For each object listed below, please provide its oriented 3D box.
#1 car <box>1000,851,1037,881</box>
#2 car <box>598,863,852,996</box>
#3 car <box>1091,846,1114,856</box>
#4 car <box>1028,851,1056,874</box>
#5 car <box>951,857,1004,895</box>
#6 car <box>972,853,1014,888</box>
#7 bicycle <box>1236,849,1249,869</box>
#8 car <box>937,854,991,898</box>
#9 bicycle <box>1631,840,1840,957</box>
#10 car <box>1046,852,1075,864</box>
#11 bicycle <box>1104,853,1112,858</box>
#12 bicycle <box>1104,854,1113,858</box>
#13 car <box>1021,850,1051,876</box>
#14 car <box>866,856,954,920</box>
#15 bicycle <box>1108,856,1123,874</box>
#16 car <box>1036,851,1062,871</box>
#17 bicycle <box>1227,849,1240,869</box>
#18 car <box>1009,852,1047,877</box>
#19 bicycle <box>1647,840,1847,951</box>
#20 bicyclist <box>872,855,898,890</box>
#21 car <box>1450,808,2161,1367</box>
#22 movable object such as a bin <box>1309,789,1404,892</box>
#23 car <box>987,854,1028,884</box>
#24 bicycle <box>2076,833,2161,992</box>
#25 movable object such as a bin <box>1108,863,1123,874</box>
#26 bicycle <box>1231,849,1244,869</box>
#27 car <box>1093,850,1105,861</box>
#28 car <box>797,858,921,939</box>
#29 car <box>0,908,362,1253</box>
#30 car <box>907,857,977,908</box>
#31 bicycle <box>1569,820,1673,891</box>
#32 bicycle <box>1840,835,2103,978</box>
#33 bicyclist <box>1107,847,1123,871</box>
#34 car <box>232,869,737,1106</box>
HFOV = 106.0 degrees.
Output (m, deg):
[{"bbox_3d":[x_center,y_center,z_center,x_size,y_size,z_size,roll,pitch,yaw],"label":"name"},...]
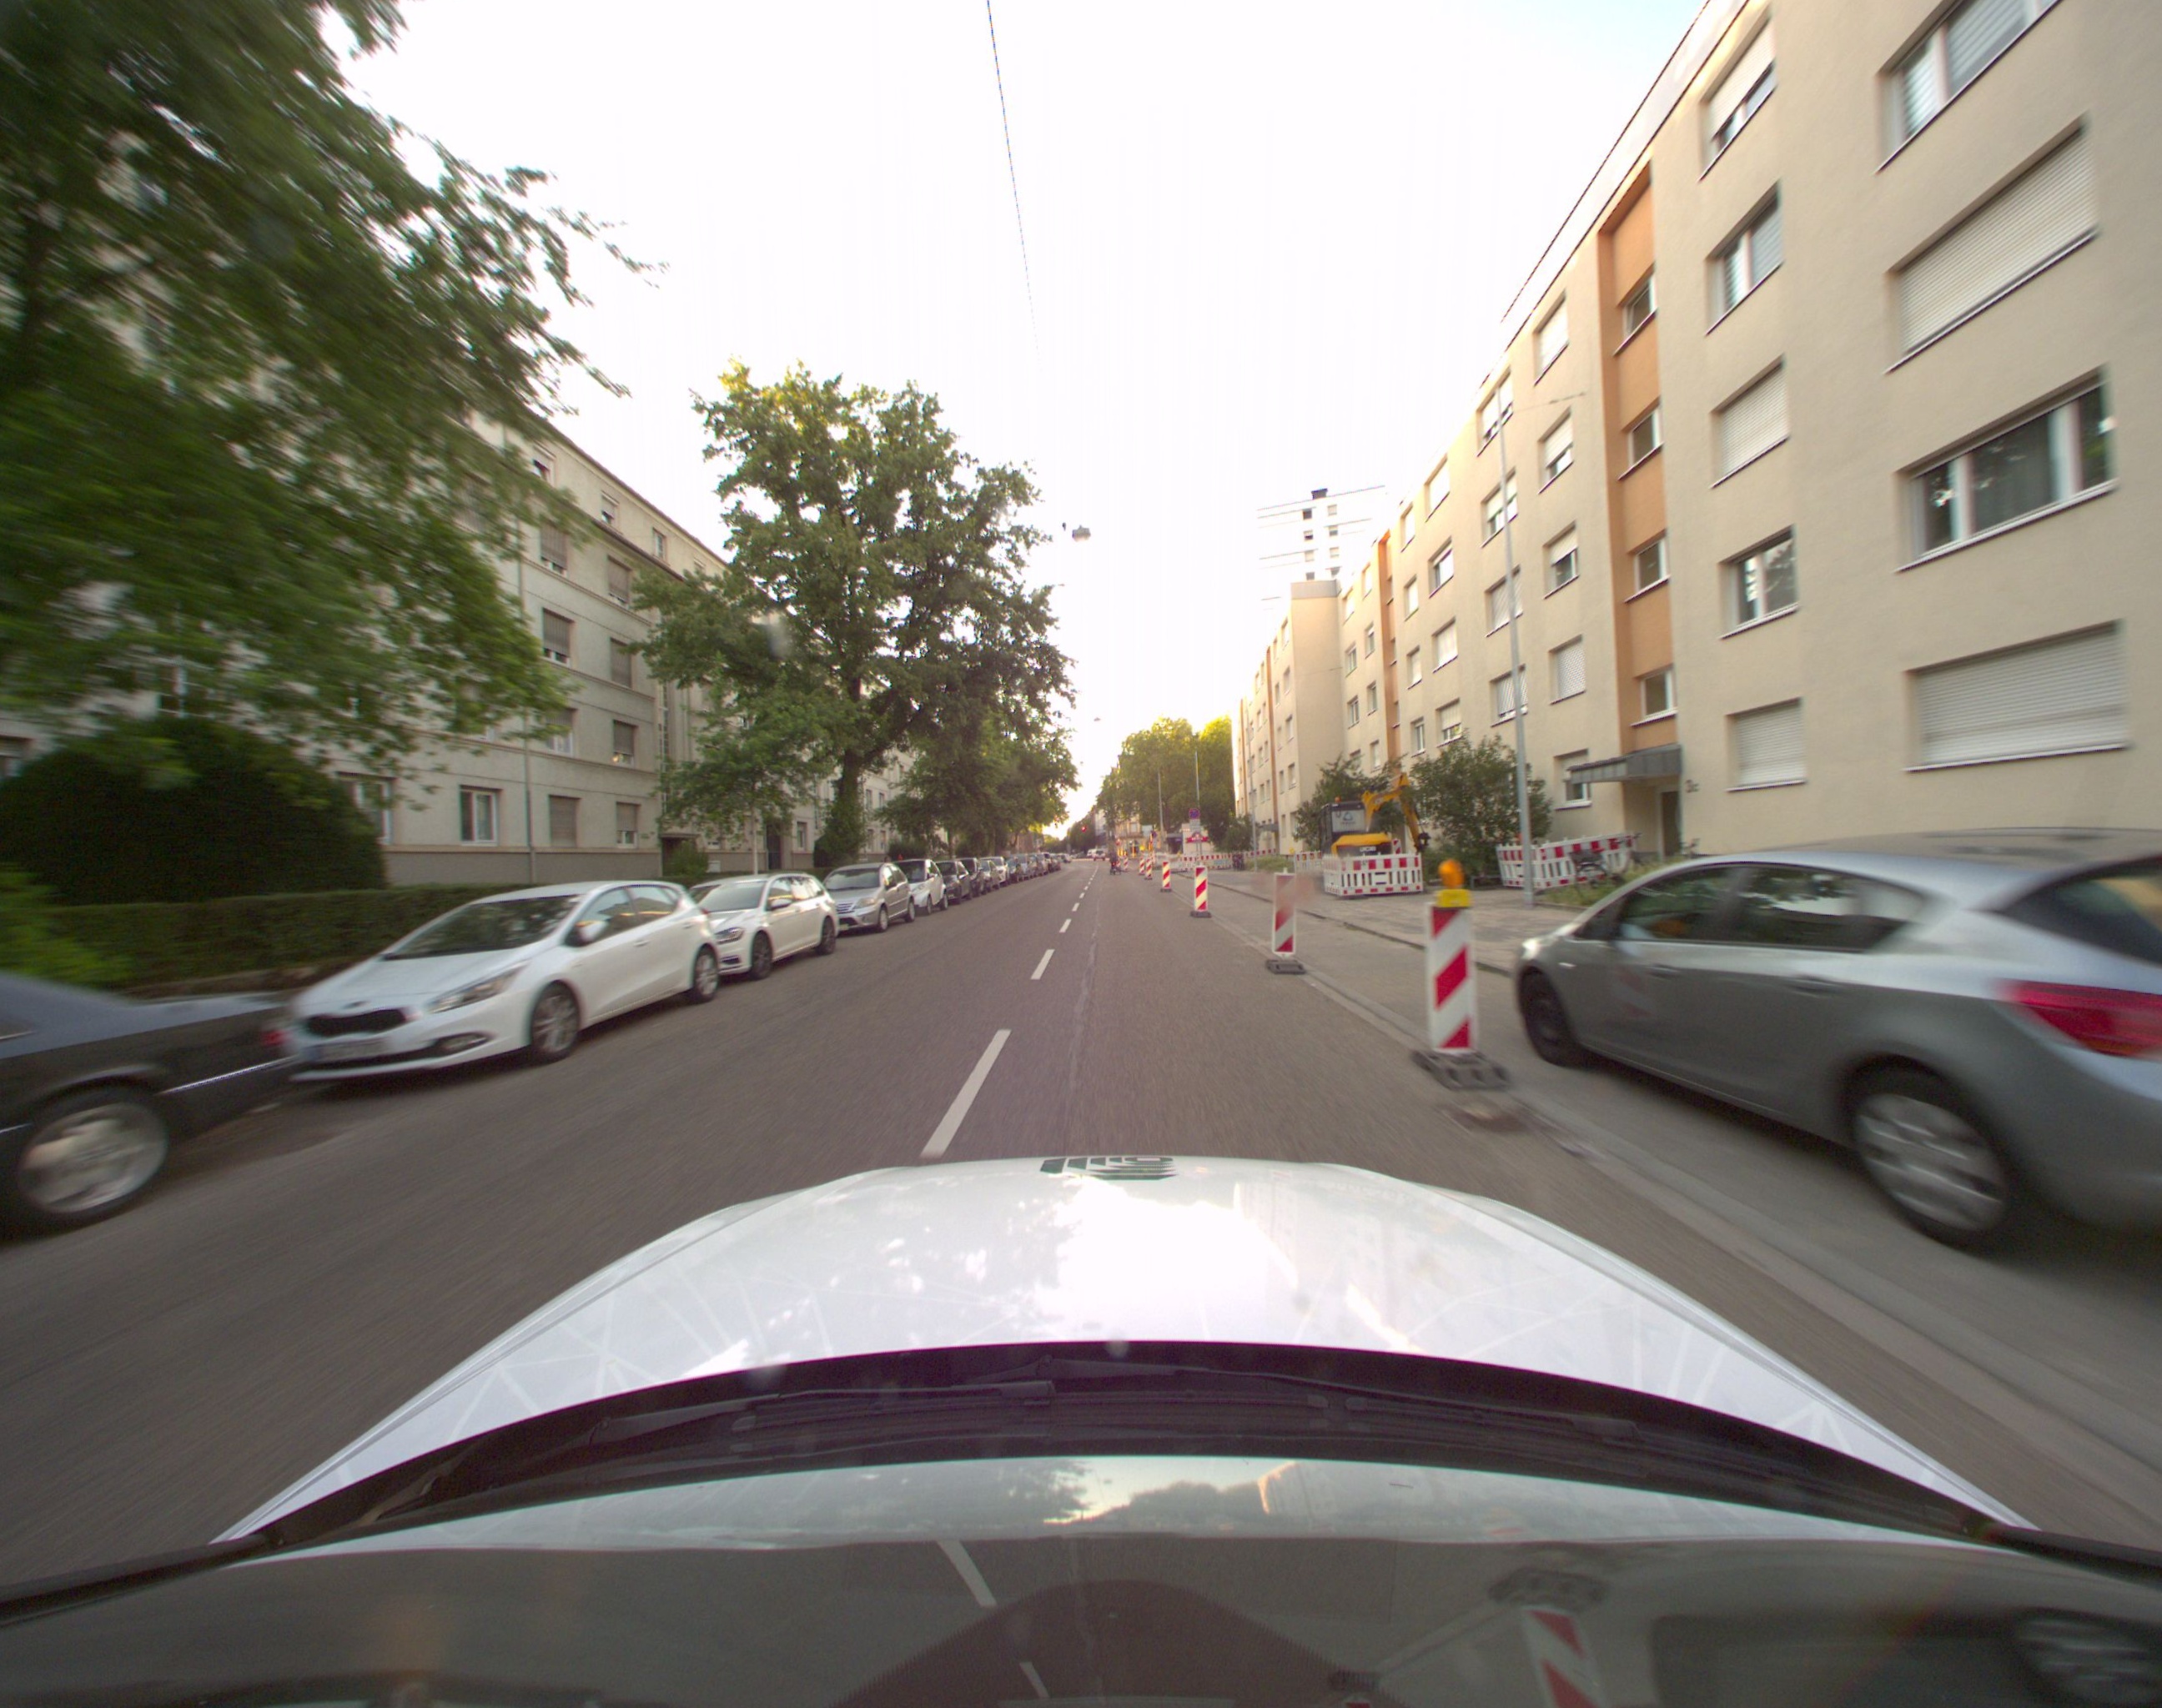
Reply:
[{"bbox_3d":[-3.848,0.727,50.405,1.701,1.600,4.118,-5,0,2],"label":"car"},{"bbox_3d":[-5.087,0.975,12.424,1.686,1.459,4.484,-5,0,1],"label":"car"},{"bbox_3d":[5.292,-0.662,201.971,5.855,2.288,2.047,-2,0,-42],"label":"car"},{"bbox_3d":[-3.202,0.651,67.923,1.947,1.719,4.772,-4,0,1],"label":"car"},{"bbox_3d":[-4.534,0.928,36.282,1.584,1.404,4.183,-5,0,2],"label":"car"},{"bbox_3d":[-4.424,0.822,41.599,1.585,1.538,4.205,-5,0,-1],"label":"car"},{"bbox_3d":[9.909,0.290,50.151,0.396,1.222,1.826,-2,0,0],"label":"bicycle"},{"bbox_3d":[-4.574,0.833,32.176,1.518,1.529,3.164,-5,0,0],"label":"car"},{"bbox_3d":[7.317,0.460,9.227,0.557,1.172,1.806,-2,0,-18],"label":"bicycle"},{"bbox_3d":[-3.145,0.577,126.260,3.951,1.585,1.882,-3,0,23],"label":"car"},{"bbox_3d":[6.552,0.345,195.425,1.909,0.968,0.545,-2,0,-1],"label":"bicycle"},{"bbox_3d":[6.590,0.460,195.703,1.909,0.968,0.545,-2,0,-1],"label":"bicycle"},{"bbox_3d":[-3.322,0.632,60.667,1.841,1.690,4.858,-4,0,0],"label":"car"},{"bbox_3d":[-4.786,0.911,23.138,1.583,1.529,2.924,-5,0,4],"label":"car"},{"bbox_3d":[2.453,0.766,57.569,0.935,1.172,2.360,-5,-1,3],"label":"bicycle"},{"bbox_3d":[-2.946,0.628,75.762,1.947,1.616,4.606,-4,0,1],"label":"car"},{"bbox_3d":[9.385,0.300,50.138,0.450,1.222,1.911,-2,0,0],"label":"bicycle"},{"bbox_3d":[-3.542,0.667,55.207,1.724,1.497,4.277,-4,0,6],"label":"car"},{"bbox_3d":[7.850,0.453,9.719,0.627,1.172,1.807,-2,0,-15],"label":"bicycle"},{"bbox_3d":[-8.269,0.772,34.355,0.805,1.404,0.974,-2,0,1],"label":"bicyclist"},{"bbox_3d":[3.976,0.633,4.598,1.769,1.490,4.576,-6,0,3],"label":"car"},{"bbox_3d":[7.838,-0.358,23.405,1.923,2.693,2.896,-2,0,6],"label":"movable object such as a bin"},{"bbox_3d":[-4.126,0.832,45.990,1.701,1.452,3.845,-5,0,2],"label":"car"},{"bbox_3d":[8.238,0.427,5.633,0.553,1.172,1.819,-2,0,4],"label":"bicycle"},{"bbox_3d":[2.381,0.994,55.889,0.935,0.689,0.994,-5,-1,2],"label":"movable object such as a bin"},{"bbox_3d":[9.661,0.296,50.223,0.396,1.222,1.911,-2,0,0],"label":"bicycle"},{"bbox_3d":[3.137,0.223,139.619,1.860,1.815,4.000,-3,0,0],"label":"car"},{"bbox_3d":[-4.941,0.936,18.672,1.584,1.505,3.800,-5,0,1],"label":"car"},{"bbox_3d":[-5.401,1.075,2.775,1.669,1.331,4.580,-5,0,1],"label":"car"},{"bbox_3d":[-4.673,0.907,27.909,1.585,1.466,4.101,-5,0,0],"label":"car"},{"bbox_3d":[9.797,0.025,14.795,1.590,1.222,0.484,-2,0,-5],"label":"bicycle"},{"bbox_3d":[8.253,0.437,7.682,0.553,1.172,1.819,-2,0,4],"label":"bicycle"},{"bbox_3d":[2.415,0.333,57.585,0.935,1.581,1.147,-5,-1,2],"label":"bicyclist"},{"bbox_3d":[-5.106,0.982,7.852,1.687,1.459,4.144,-5,0,0],"label":"car"}]
